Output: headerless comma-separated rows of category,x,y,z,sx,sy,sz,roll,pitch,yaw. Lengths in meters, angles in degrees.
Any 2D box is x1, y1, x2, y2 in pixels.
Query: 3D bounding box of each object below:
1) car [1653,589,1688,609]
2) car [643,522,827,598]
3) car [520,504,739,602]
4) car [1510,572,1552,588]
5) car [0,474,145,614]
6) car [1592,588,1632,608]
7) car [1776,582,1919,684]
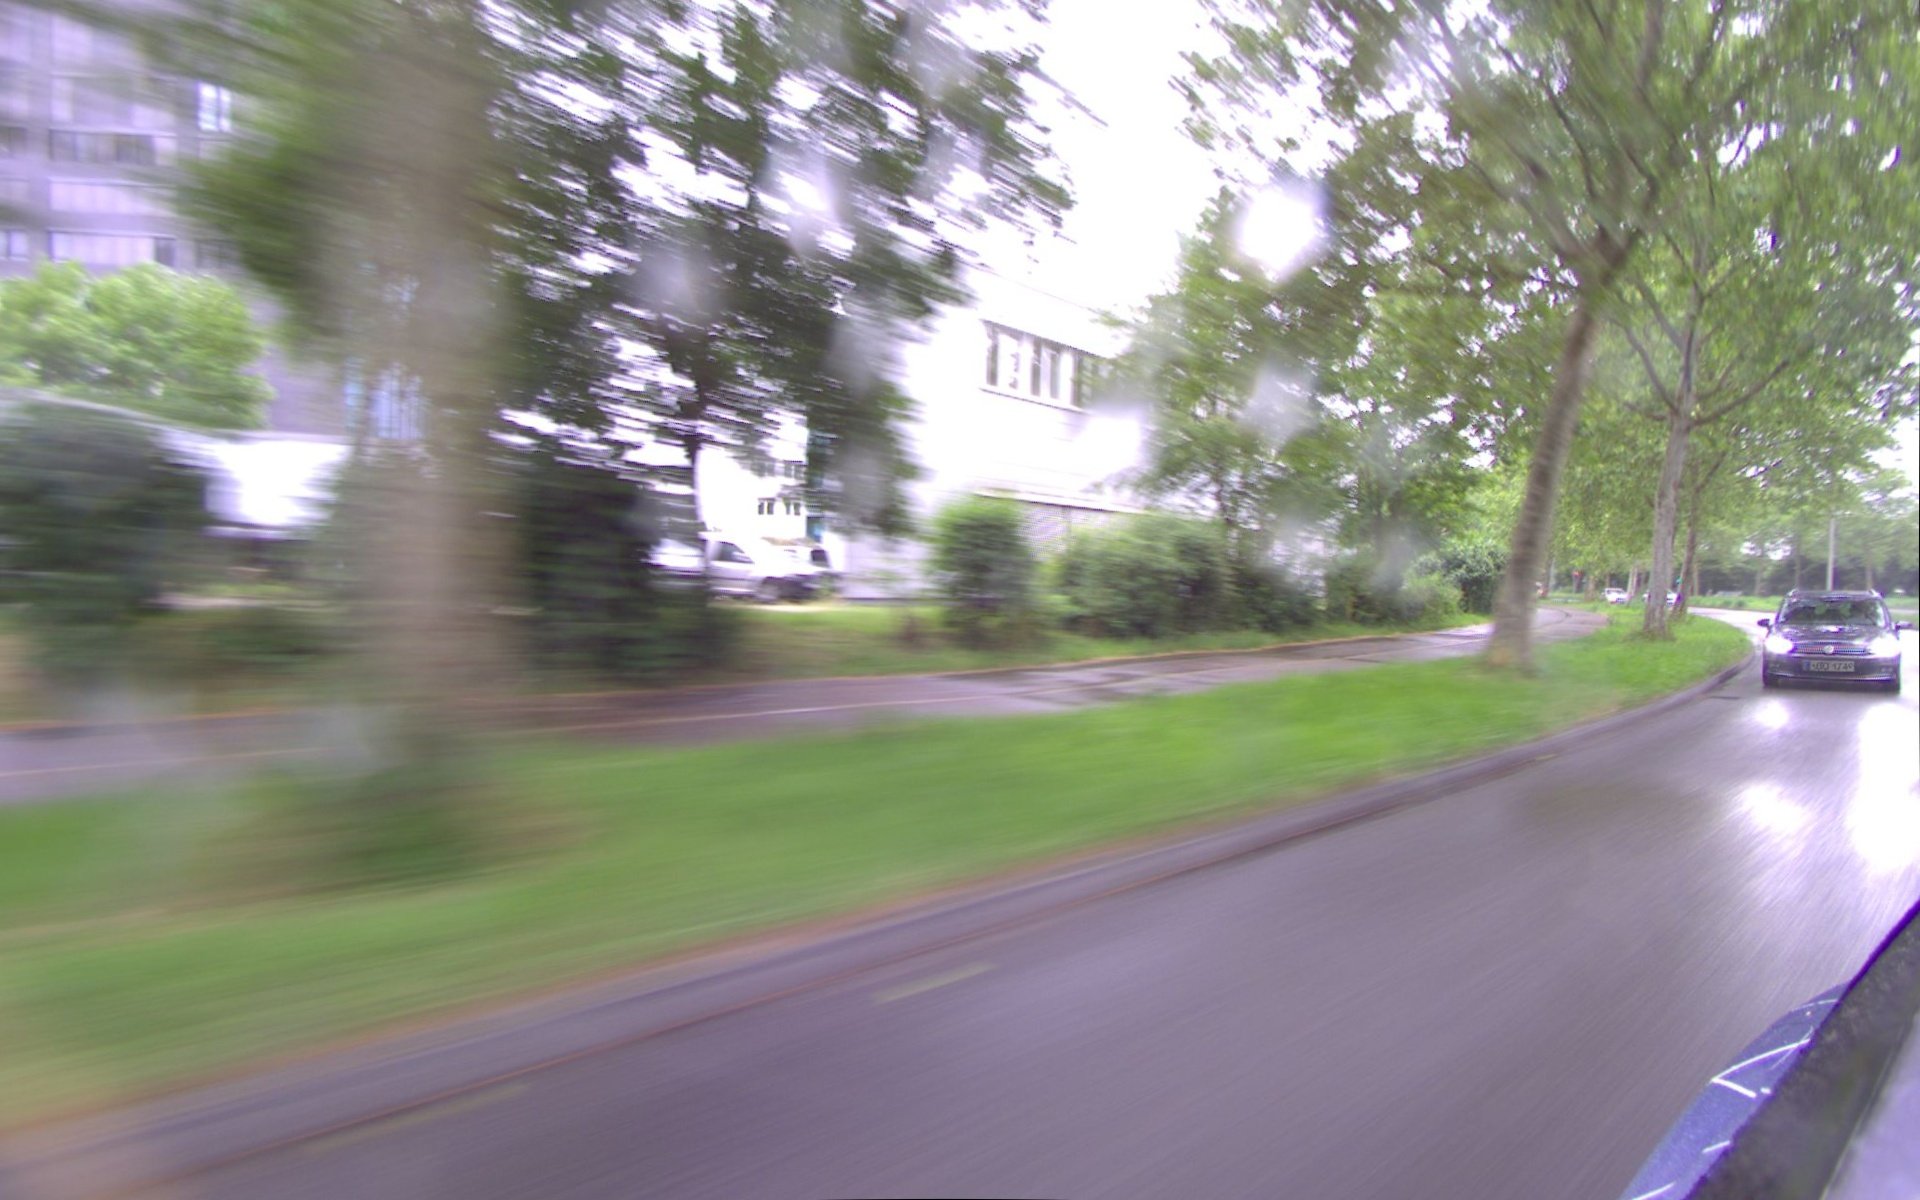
car,57.084,-0.081,81.369,1.769,1.575,3.961,1,1,28
car,-5.879,-0.997,26.449,4.546,1.854,1.755,1,0,23
car,-5.957,-0.763,18.052,4.137,1.501,1.743,1,-2,40
car,89.548,-3.185,158.769,2.239,2.457,6.371,1,1,-9
car,-11.628,-0.623,12.682,1.734,1.501,4.158,3,-1,-33
car,52.993,-0.190,82.323,1.762,1.575,3.977,1,1,18
car,15.572,0.524,17.715,1.778,1.575,3.940,-2,-1,42
